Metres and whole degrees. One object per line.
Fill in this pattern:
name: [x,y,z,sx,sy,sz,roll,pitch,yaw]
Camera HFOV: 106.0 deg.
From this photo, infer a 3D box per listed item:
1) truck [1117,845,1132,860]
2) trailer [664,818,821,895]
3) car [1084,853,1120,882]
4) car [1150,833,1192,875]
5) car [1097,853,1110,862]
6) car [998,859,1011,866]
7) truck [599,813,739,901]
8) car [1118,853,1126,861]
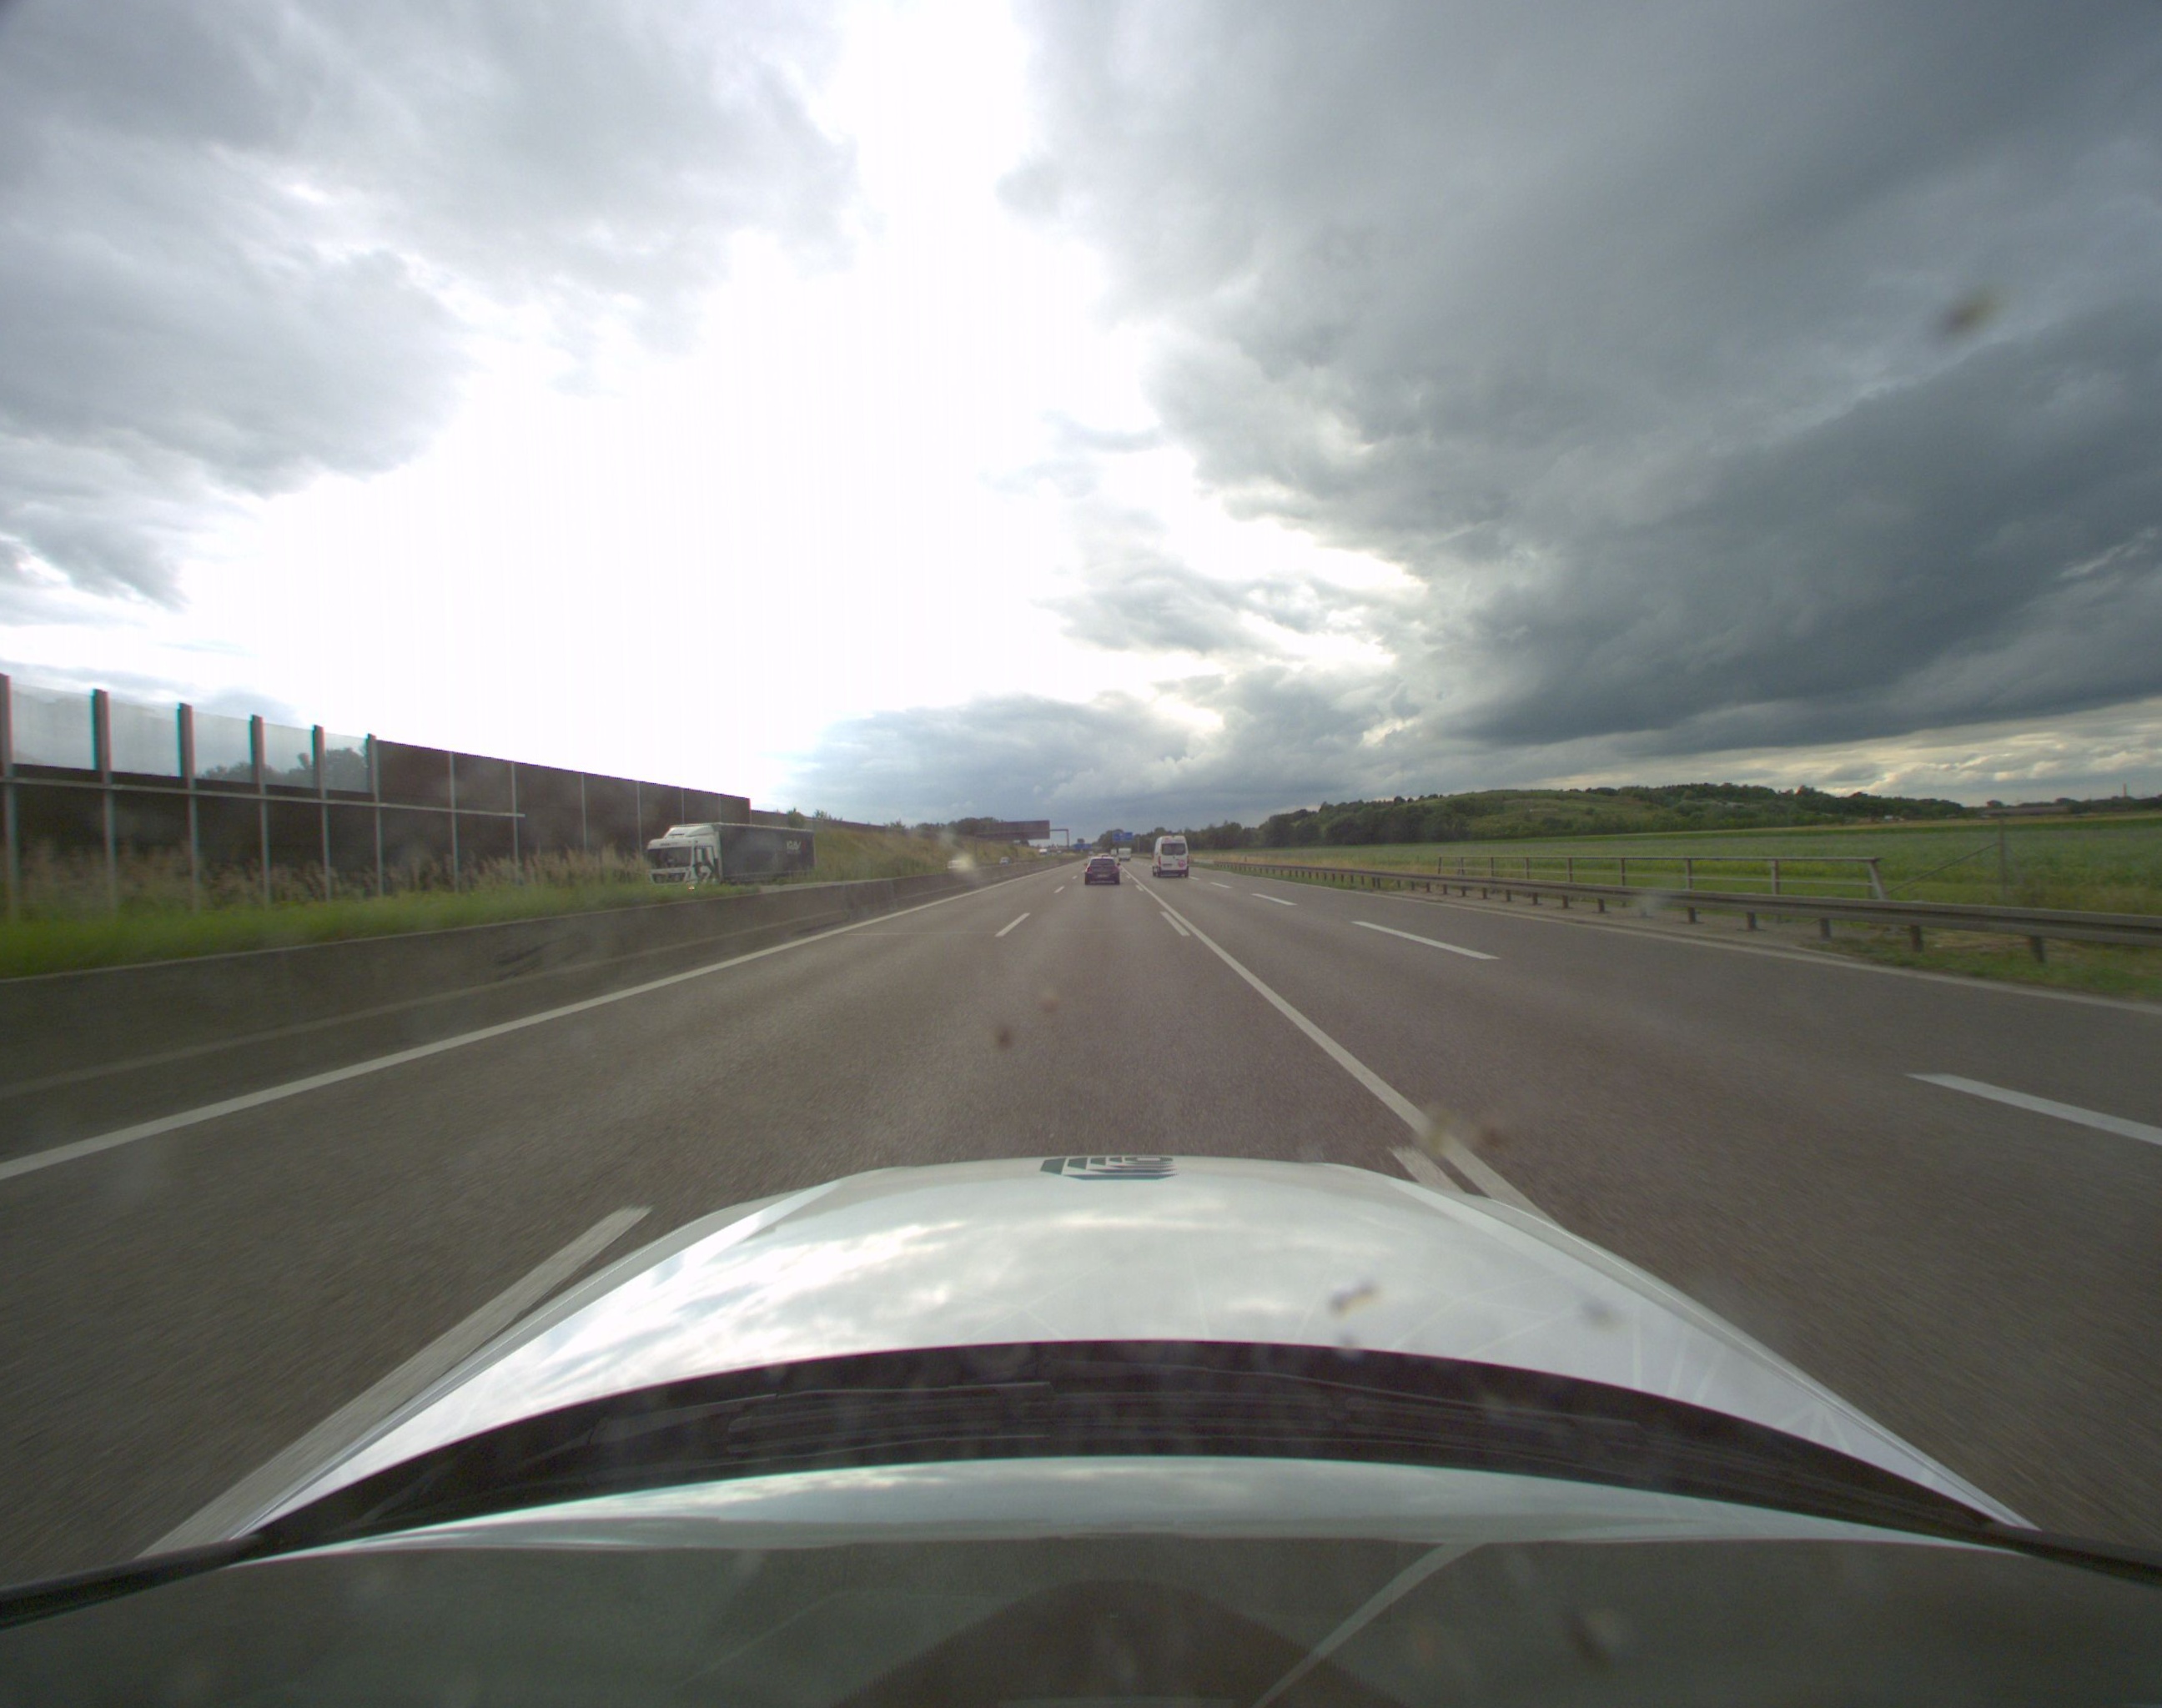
truck: [8.689,-0.290,162.618,2.700,2.964,12.451,0,0,2]
trailer: [-19.628,0.111,48.710,3.657,3.980,12.684,0,0,2]
car: [1.088,0.646,42.091,1.737,1.389,4.002,-1,0,2]
car: [5.904,-0.008,54.235,2.213,2.568,6.259,-1,0,2]
car: [3.665,0.535,131.925,1.986,1.298,4.001,-2,0,1]
car: [-15.056,1.642,160.153,1.986,1.364,4.942,0,0,1]
truck: [-19.956,0.128,39.935,3.654,3.948,6.016,0,0,2]
car: [11.087,0.701,218.101,1.986,2.013,4.001,-2,0,1]
